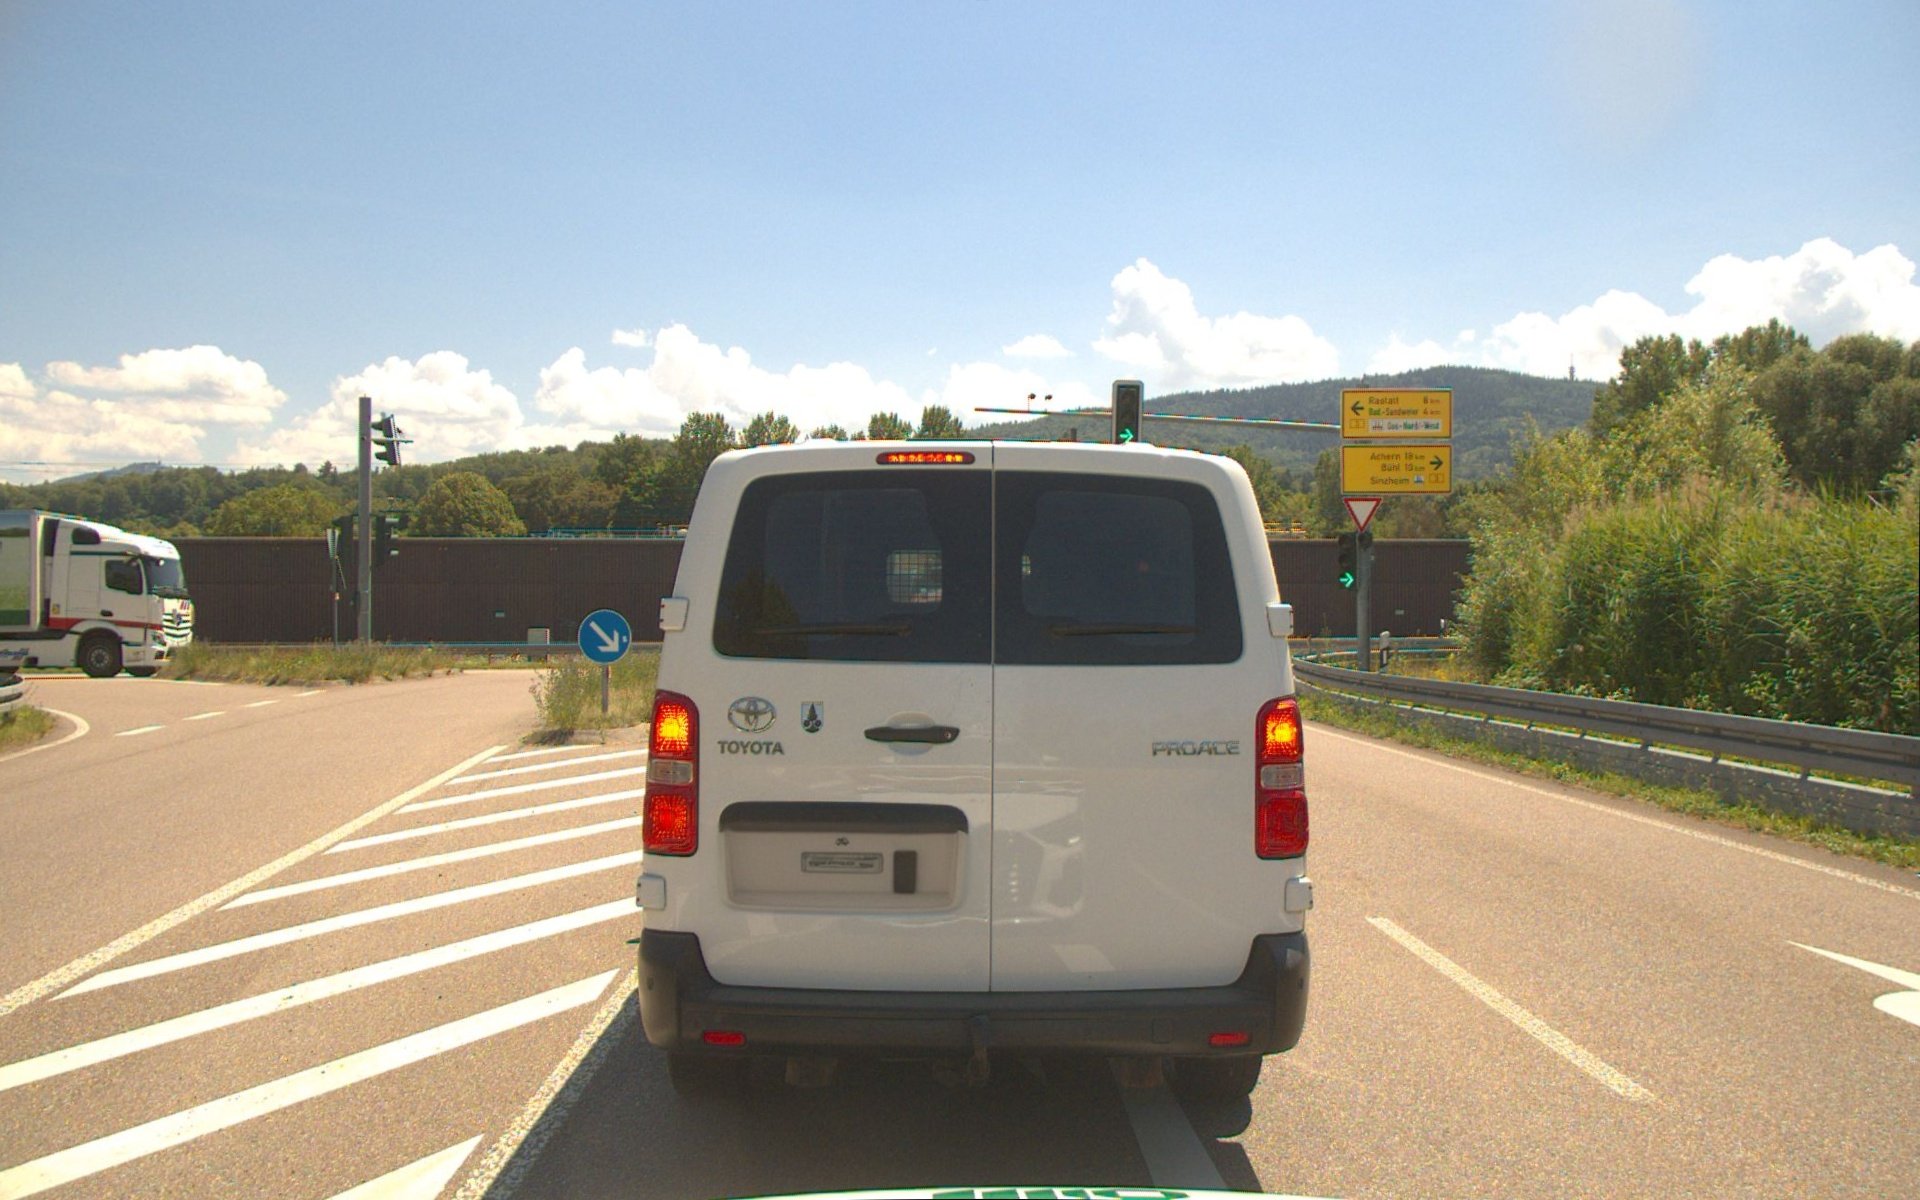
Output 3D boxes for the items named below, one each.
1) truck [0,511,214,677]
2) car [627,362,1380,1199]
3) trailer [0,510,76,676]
[{"bbox_3d":[-22.387,-0.142,41.779,5.649,4.024,3.061,0,-1,-3],"label":"truck"},{"bbox_3d":[0.078,0.478,5.918,1.778,2.053,3.999,0,0,-1],"label":"car"},{"bbox_3d":[-29.516,-0.181,41.442,12.877,4.024,3.060,0,-1,-3],"label":"trailer"}]
